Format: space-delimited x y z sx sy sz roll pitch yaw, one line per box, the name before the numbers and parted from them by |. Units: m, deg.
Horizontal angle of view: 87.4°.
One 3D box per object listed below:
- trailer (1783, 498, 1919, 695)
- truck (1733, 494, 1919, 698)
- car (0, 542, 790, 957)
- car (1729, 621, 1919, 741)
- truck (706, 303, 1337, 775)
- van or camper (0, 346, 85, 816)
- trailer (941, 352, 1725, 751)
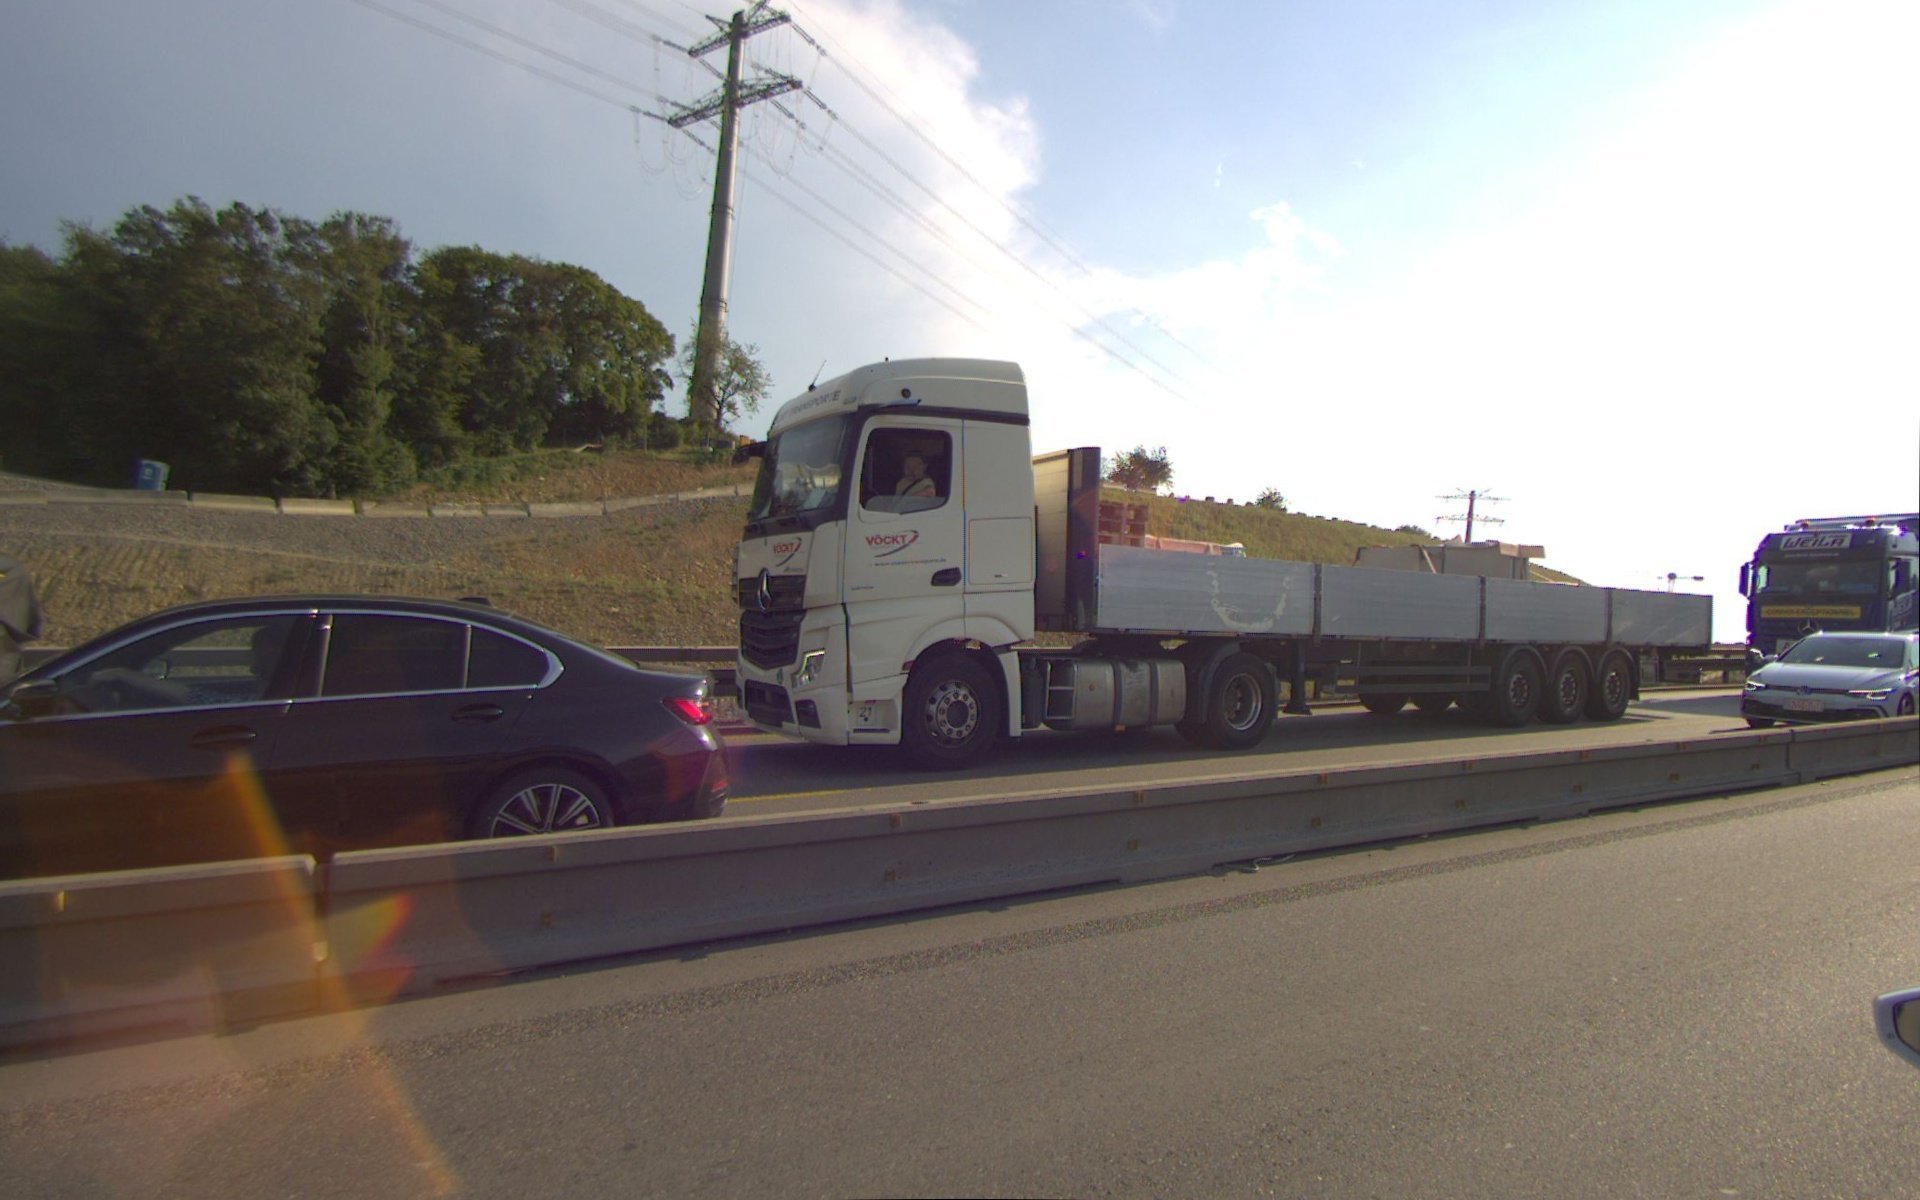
trailer | 25.682 0.140 26.312 14.448 4.185 2.293 2 -1 -34
truck | 20.287 0.006 22.852 5.603 4.119 2.489 2 -1 -33
car | -3.304 0.577 4.904 4.534 1.531 1.784 2 -1 -31
car | 13.414 1.136 14.977 4.208 1.528 1.749 2 -1 -32
truck | 0.840 -0.397 10.865 6.442 3.804 2.588 2 -1 -31
van or camper | -9.538 -0.204 4.895 7.530 2.930 2.396 2 -1 -31
trailer | 6.313 -0.258 14.255 13.823 3.774 2.506 2 -1 -32
